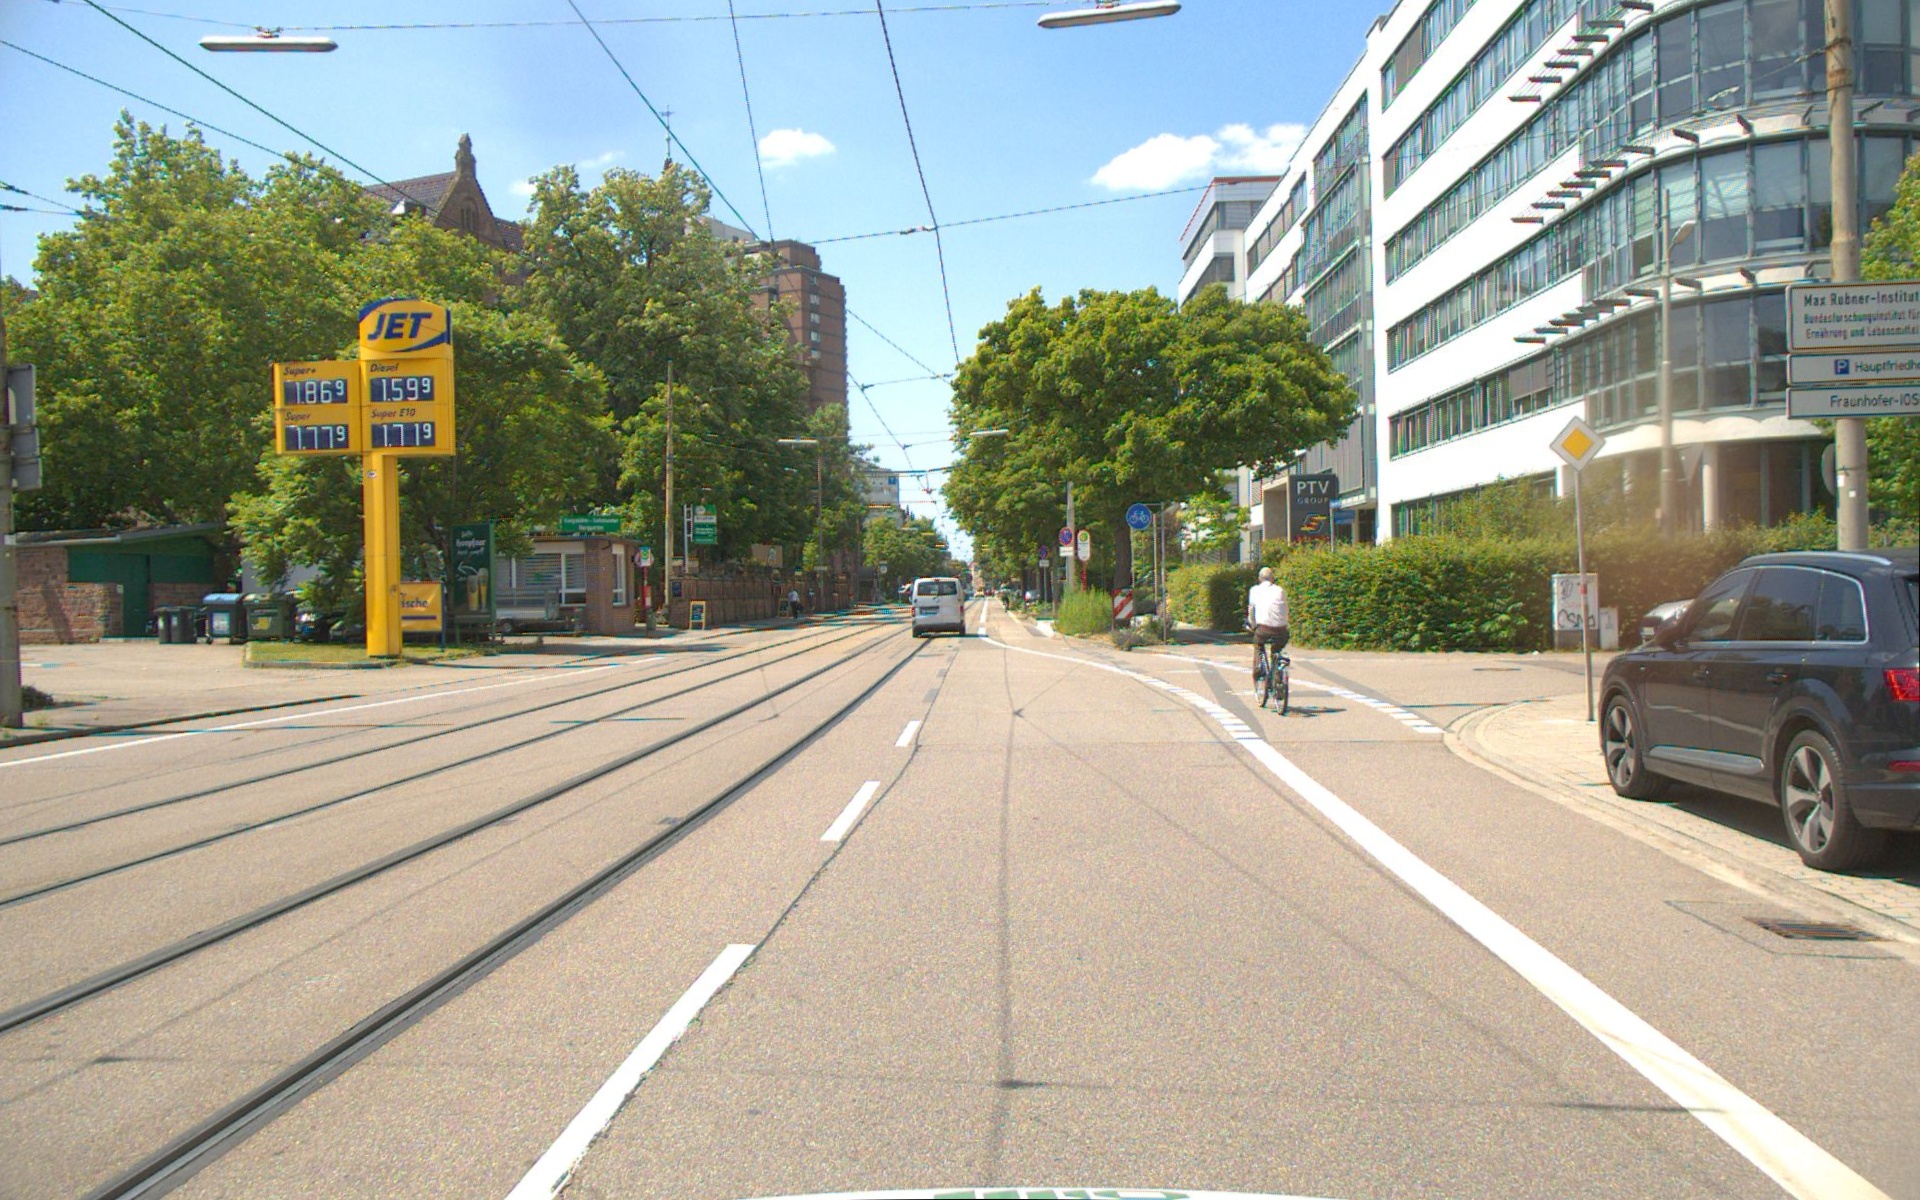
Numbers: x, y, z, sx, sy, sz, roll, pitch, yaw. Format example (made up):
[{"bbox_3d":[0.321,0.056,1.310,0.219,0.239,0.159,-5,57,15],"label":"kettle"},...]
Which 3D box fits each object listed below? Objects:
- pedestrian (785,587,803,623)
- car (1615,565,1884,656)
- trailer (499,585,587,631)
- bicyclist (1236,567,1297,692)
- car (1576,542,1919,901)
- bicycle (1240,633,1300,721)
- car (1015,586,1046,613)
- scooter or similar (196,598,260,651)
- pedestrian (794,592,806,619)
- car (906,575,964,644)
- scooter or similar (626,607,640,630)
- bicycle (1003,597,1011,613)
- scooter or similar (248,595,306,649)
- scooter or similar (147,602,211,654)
[{"bbox_3d":[-9.673,0.302,96.340,0.846,2.049,0.646,-3,-1,-2],"label":"pedestrian"},{"bbox_3d":[13.129,0.167,27.643,3.720,1.297,1.556,-3,0,1],"label":"car"},{"bbox_3d":[-14.424,0.273,57.227,2.671,1.553,1.330,-1,-1,2],"label":"trailer"},{"bbox_3d":[3.564,0.333,19.293,0.579,1.421,0.842,-1,0,4],"label":"bicyclist"},{"bbox_3d":[5.591,0.523,10.358,1.824,1.716,5.003,-2,0,4],"label":"car"},{"bbox_3d":[3.603,0.869,19.322,0.456,0.903,2.049,-1,0,5],"label":"bicycle"},{"bbox_3d":[4.318,-0.001,101.390,1.554,1.515,3.454,-3,-1,-2],"label":"car"},{"bbox_3d":[-21.079,0.697,47.654,1.286,1.492,1.060,-2,-1,12],"label":"scooter or similar"},{"bbox_3d":[-10.645,0.370,110.135,0.663,1.757,0.983,-3,-1,-2],"label":"pedestrian"},{"bbox_3d":[-0.806,0.269,53.382,1.717,2.048,4.000,-3,1,-1],"label":"car"},{"bbox_3d":[-12.581,0.712,63.640,0.423,0.878,0.500,-1,-1,-2],"label":"scooter or similar"},{"bbox_3d":[3.140,0.331,110.086,0.380,0.981,1.699,-3,-1,-2],"label":"bicycle"},{"bbox_3d":[-19.410,0.627,47.033,1.147,1.492,1.060,-1,-1,6],"label":"scooter or similar"},{"bbox_3d":[-22.985,0.815,48.694,1.285,1.492,1.060,-1,0,12],"label":"scooter or similar"}]
